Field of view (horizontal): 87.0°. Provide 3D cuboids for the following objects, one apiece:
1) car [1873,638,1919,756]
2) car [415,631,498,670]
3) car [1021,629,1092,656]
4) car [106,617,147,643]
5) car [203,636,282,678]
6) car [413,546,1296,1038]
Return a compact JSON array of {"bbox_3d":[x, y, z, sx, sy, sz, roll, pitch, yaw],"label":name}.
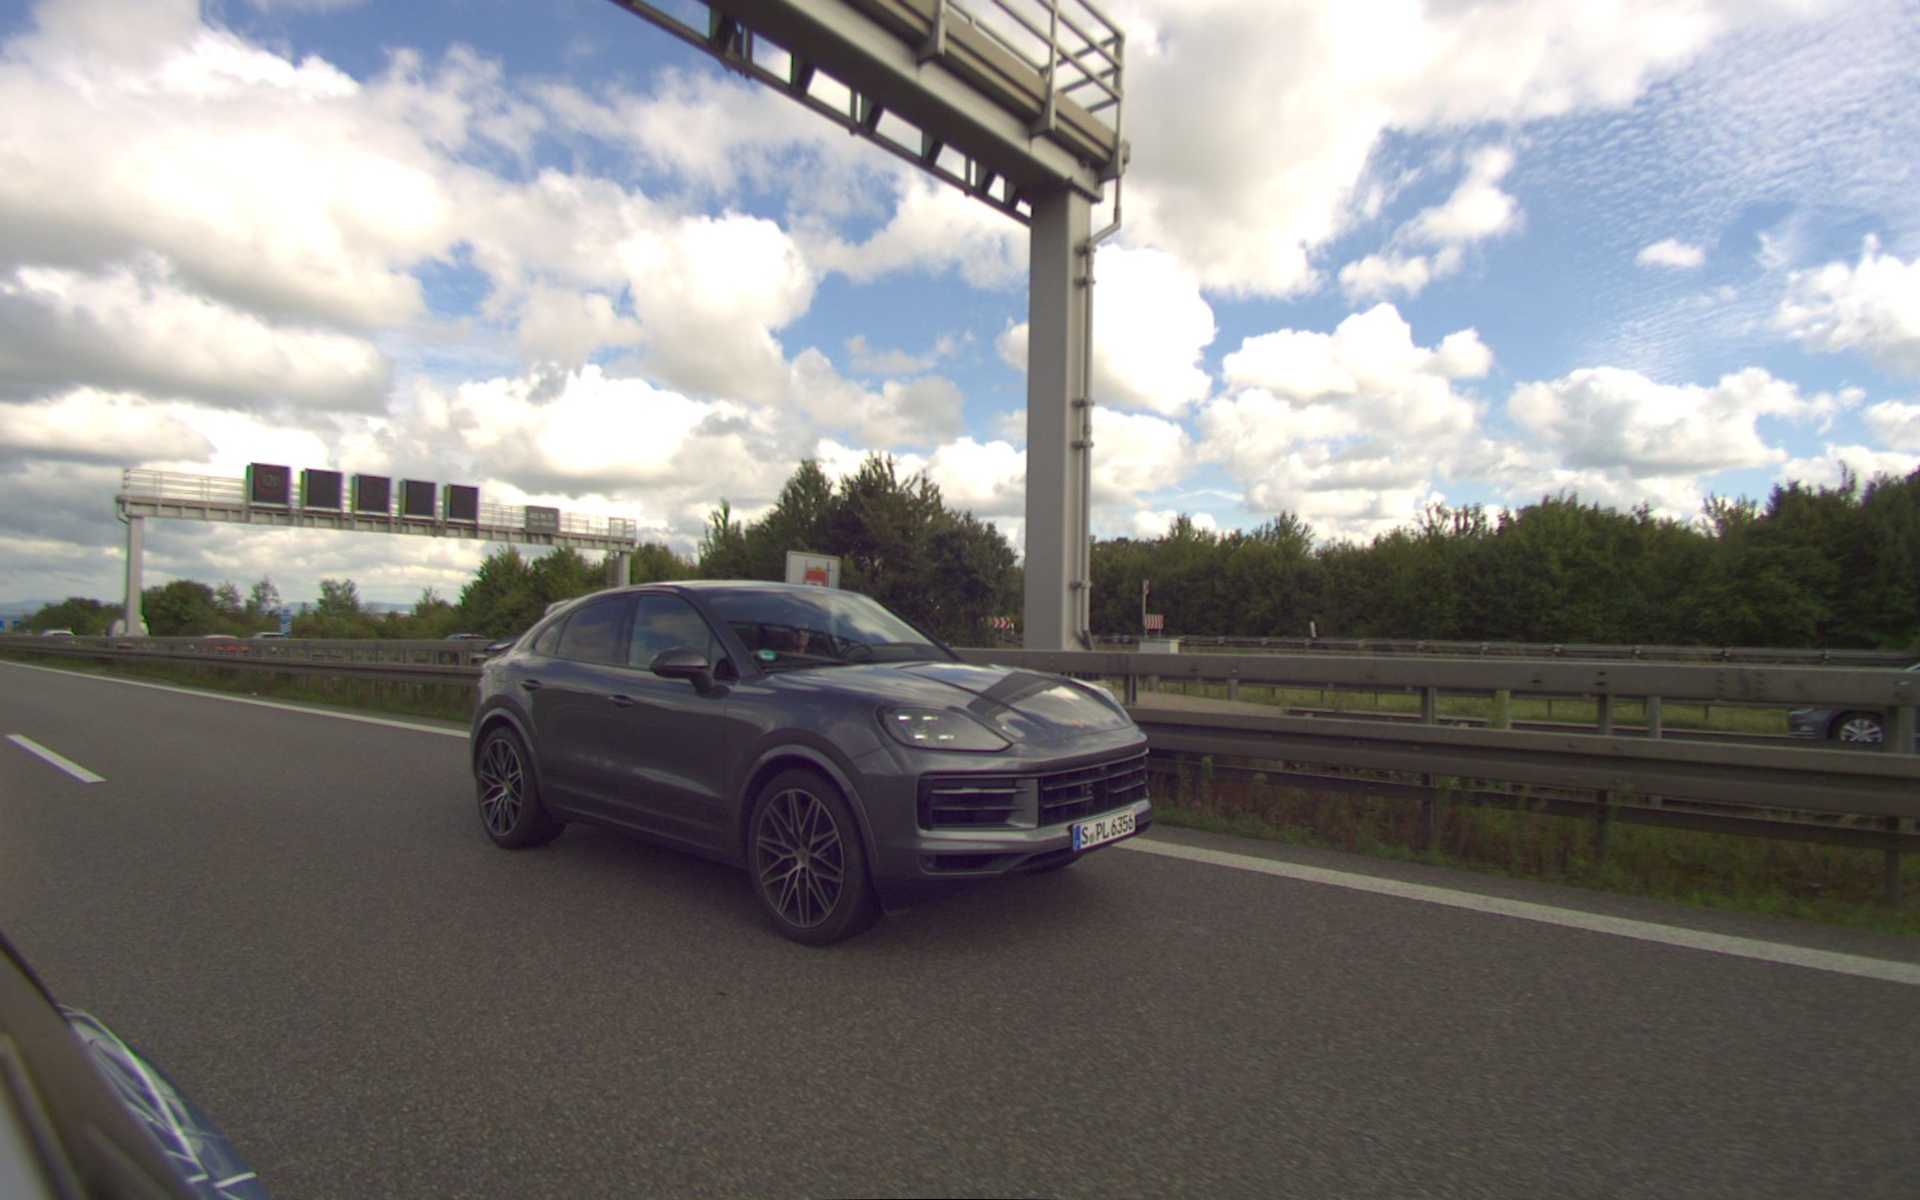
[{"bbox_3d":[14.852,1.327,13.205,4.293,1.588,1.708,-1,-3,41],"label":"car"},{"bbox_3d":[-23.071,2.286,46.324,4.427,1.648,1.709,-1,-1,39],"label":"car"},{"bbox_3d":[5.501,2.419,58.091,1.966,1.475,4.270,2,-2,-30],"label":"car"},{"bbox_3d":[-74.893,2.655,90.921,4.573,2.301,1.978,-1,-1,39],"label":"car"},{"bbox_3d":[-31.323,2.452,44.147,4.427,1.648,1.709,-1,-1,39],"label":"car"},{"bbox_3d":[-1.084,0.686,5.922,5.496,1.648,1.893,-1,-1,41],"label":"car"}]
